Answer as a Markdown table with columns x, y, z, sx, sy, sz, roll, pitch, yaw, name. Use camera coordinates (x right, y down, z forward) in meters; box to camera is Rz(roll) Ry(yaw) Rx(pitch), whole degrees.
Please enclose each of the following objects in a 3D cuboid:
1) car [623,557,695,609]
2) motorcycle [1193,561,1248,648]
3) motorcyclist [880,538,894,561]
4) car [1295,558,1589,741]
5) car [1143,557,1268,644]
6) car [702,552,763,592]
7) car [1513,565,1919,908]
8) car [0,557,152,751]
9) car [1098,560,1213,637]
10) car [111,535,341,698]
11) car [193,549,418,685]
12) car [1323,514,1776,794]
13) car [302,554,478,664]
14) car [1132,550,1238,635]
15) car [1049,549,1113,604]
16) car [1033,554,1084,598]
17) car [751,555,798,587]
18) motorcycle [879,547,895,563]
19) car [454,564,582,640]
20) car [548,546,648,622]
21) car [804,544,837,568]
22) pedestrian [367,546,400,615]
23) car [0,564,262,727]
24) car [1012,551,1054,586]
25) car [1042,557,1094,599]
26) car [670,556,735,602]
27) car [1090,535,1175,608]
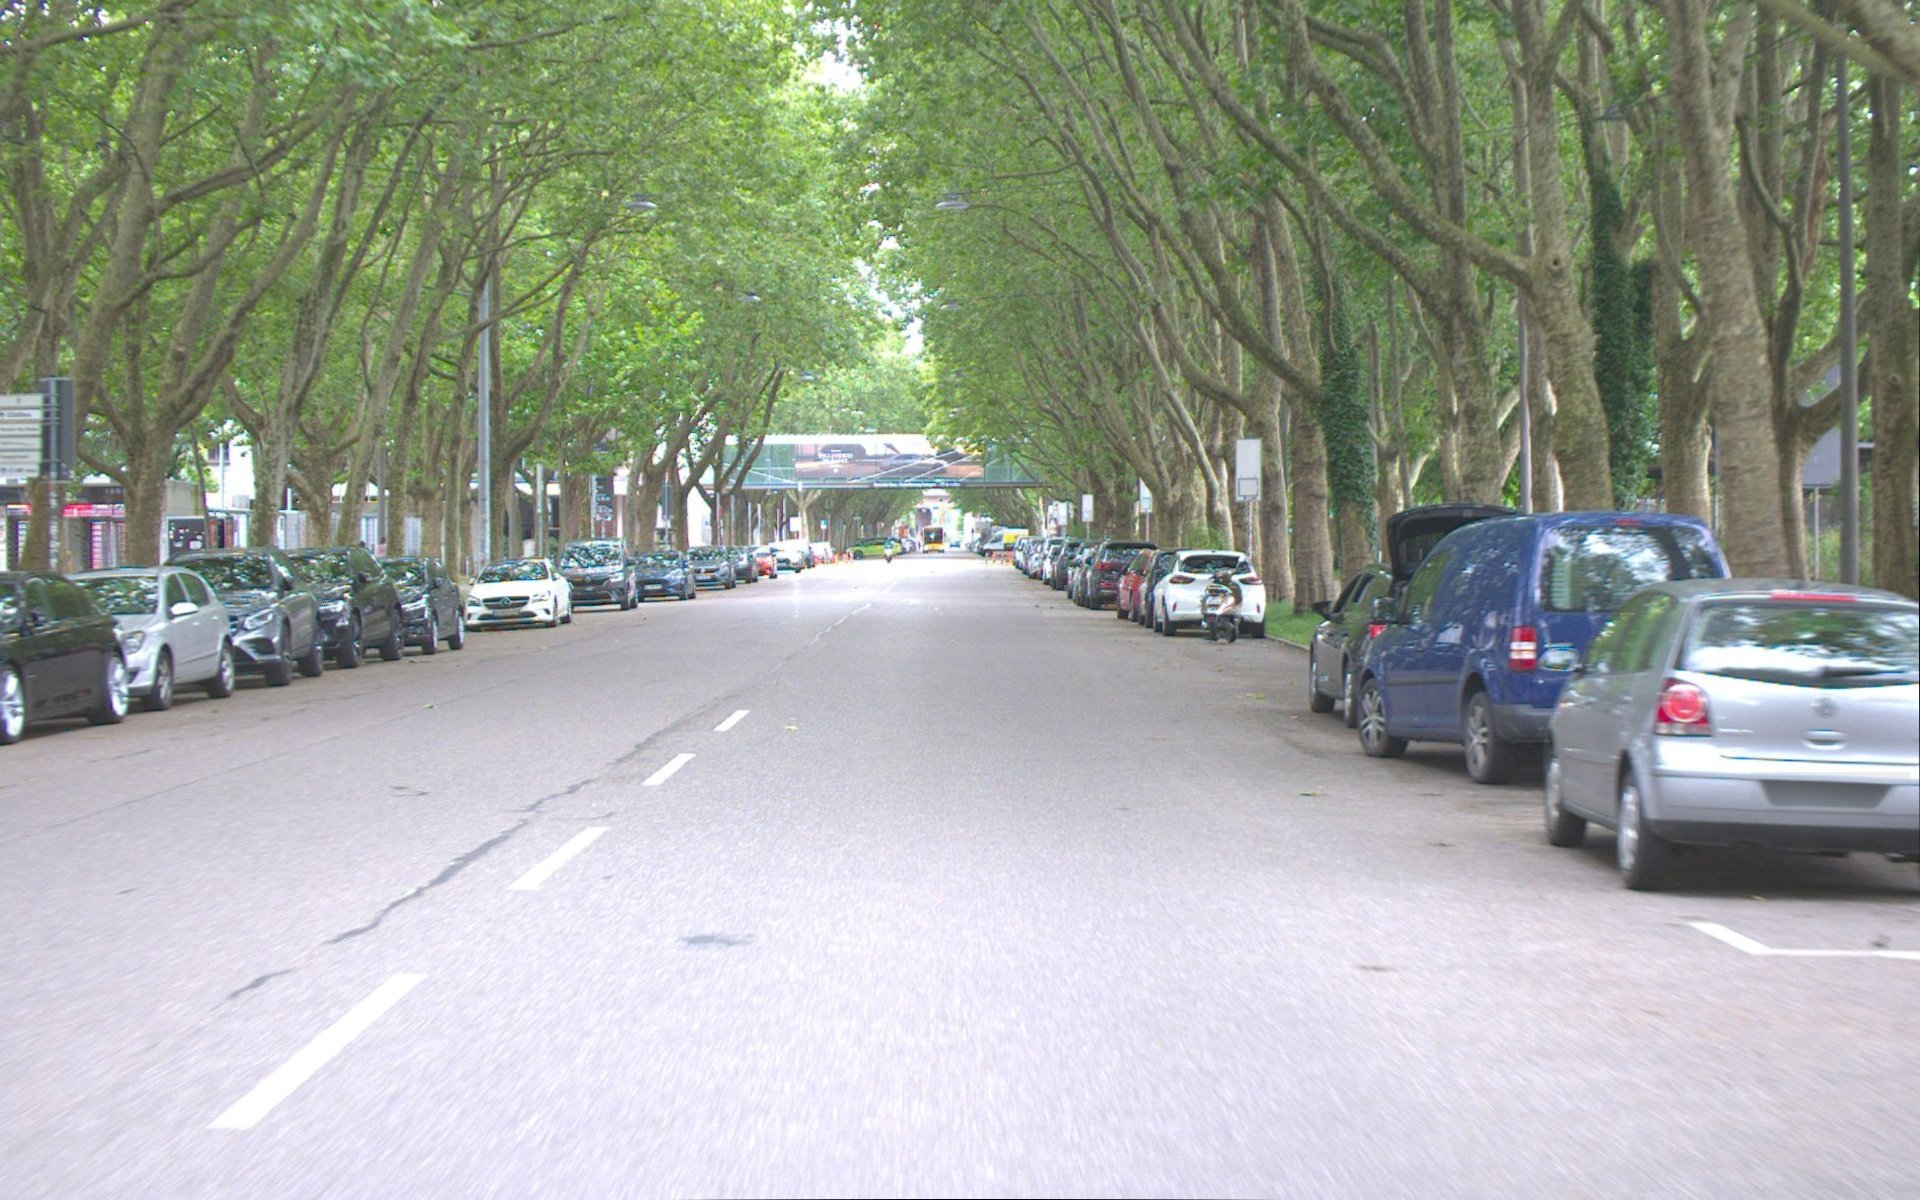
| x | y | z | sx | sy | sz | roll | pitch | yaw | name |
| --- | --- | --- | --- | --- | --- | --- | --- | --- | --- |
| -8.853 | -0.516 | 101.389 | 1.724 | 1.481 | 4.574 | 0 | 1 | 0 | car |
| 4.064 | 0.052 | 53.472 | 0.712 | 1.327 | 1.992 | 0 | 1 | 8 | motorcycle |
| -4.734 | -3.237 | 222.204 | 0.870 | 1.475 | 1.265 | 0 | 1 | -3 | motorcyclist |
| 4.242 | 0.387 | 30.944 | 1.993 | 1.473 | 4.371 | 1 | 1 | 0 | car |
| 4.154 | -0.020 | 58.607 | 1.735 | 1.433 | 4.123 | 0 | 1 | -1 | car |
| -8.683 | -1.057 | 131.425 | 1.827 | 1.460 | 4.627 | -1 | 0 | 2 | car |
| 3.894 | 0.596 | 17.330 | 1.619 | 1.456 | 3.946 | 2 | 1 | 1 | car |
| -8.737 | 0.439 | 29.850 | 2.084 | 1.524 | 5.145 | -2 | 1 | 1 | car |
| 3.901 | -0.054 | 69.335 | 1.716 | 1.433 | 4.630 | 2 | 1 | -4 | car |
| -8.634 | 0.153 | 40.796 | 1.869 | 1.712 | 4.649 | -3 | 1 | -3 | car |
| -8.832 | 0.179 | 46.812 | 1.937 | 1.637 | 4.928 | -3 | 1 | 1 | car |
| 4.093 | 0.306 | 24.660 | 1.841 | 1.777 | 4.448 | 2 | 1 | -9 | car |
| -8.624 | 0.102 | 52.366 | 1.833 | 1.489 | 4.442 | -3 | 1 | 0 | car |
| 4.184 | -0.159 | 64.417 | 1.730 | 1.465 | 4.080 | 2 | 1 | 1 | car |
| 3.852 | -0.768 | 110.072 | 1.707 | 1.692 | 4.631 | 1 | 1 | -1 | car |
| 3.906 | -0.967 | 136.915 | 1.903 | 1.733 | 4.506 | 0 | 1 | 0 | car |
| -9.340 | -1.478 | 173.228 | 2.073 | 1.557 | 4.756 | 0 | 1 | 0 | car |
| -4.714 | -2.903 | 222.185 | 0.873 | 1.075 | 3.053 | 0 | 1 | -3 | motorcycle |
| -8.964 | 0.016 | 70.077 | 1.904 | 1.398 | 4.751 | -3 | 1 | 0 | car |
| -8.779 | -0.404 | 83.679 | 1.949 | 1.744 | 4.638 | -2 | 1 | 0 | car |
| -9.211 | -2.903 | 226.382 | 1.993 | 1.596 | 4.001 | 0 | 1 | -5 | car |
| -14.888 | -0.499 | 88.759 | 0.577 | 1.764 | 0.767 | 0 | 0 | 15 | pedestrian |
| -8.521 | 0.419 | 35.119 | 1.833 | 1.451 | 4.230 | -3 | 1 | 0 | car |
| 3.390 | -1.482 | 159.986 | 1.802 | 1.550 | 4.000 | 0 | 1 | -1 | car |
| 3.840 | -0.802 | 123.054 | 1.707 | 1.422 | 3.889 | 1 | 1 | 0 | car |
| -8.933 | -0.745 | 119.401 | 1.878 | 1.521 | 4.151 | -1 | 1 | 0 | car |
| 4.023 | -0.672 | 80.726 | 1.755 | 1.614 | 4.439 | 2 | 1 | 0 | car |
